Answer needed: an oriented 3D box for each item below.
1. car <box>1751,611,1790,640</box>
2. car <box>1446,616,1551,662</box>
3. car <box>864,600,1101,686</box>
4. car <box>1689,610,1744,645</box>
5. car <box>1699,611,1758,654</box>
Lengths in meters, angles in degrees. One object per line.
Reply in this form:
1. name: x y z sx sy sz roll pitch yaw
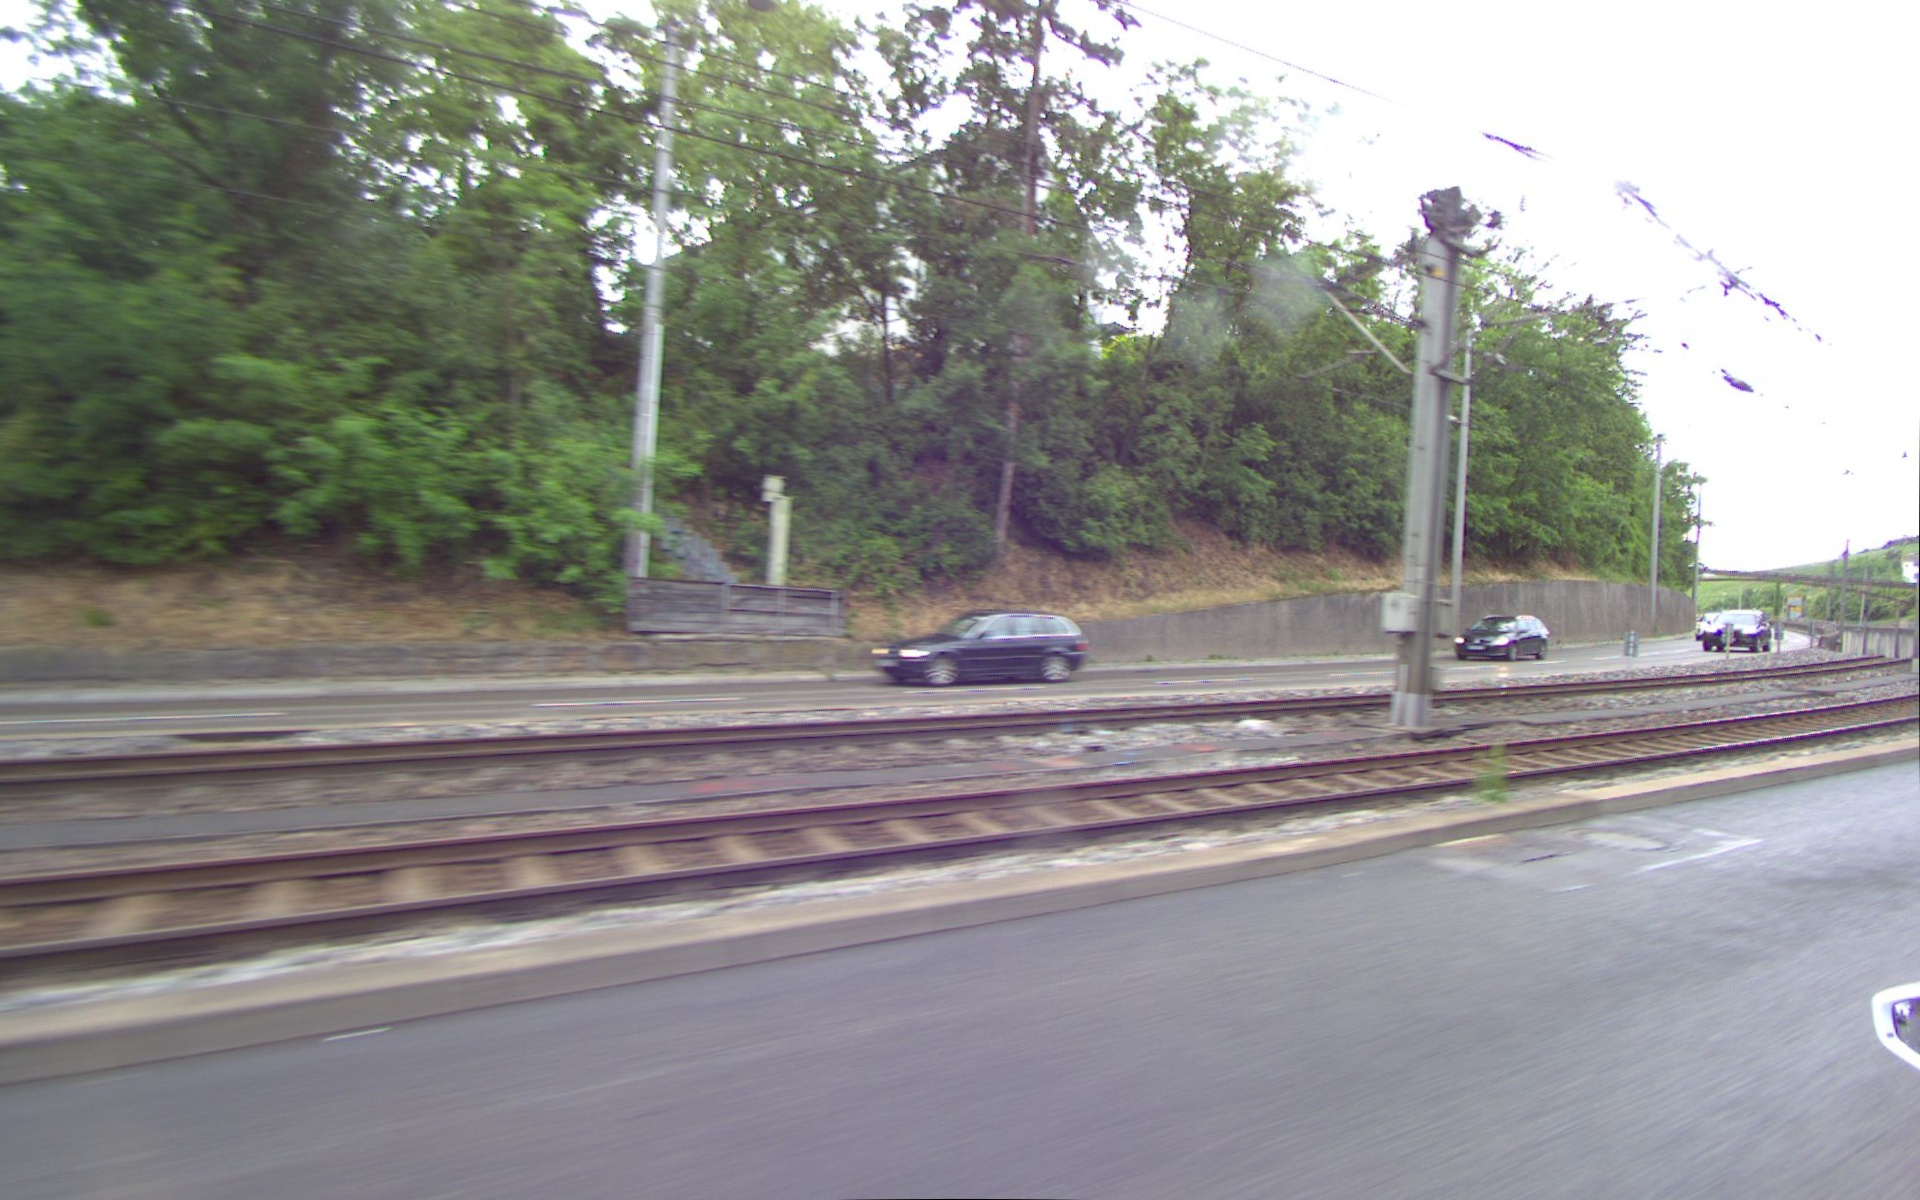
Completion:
1. car: 54.037 1.686 66.918 1.905 1.810 4.429 0 0 40
2. car: 18.246 1.280 33.947 4.422 1.433 1.908 1 -2 -45
3. car: 0.498 0.826 19.892 4.526 1.536 1.734 1 -1 -33
4. car: 46.198 1.673 61.300 3.972 2.040 1.975 1 0 -43
5. car: 34.625 1.427 45.193 1.905 1.810 4.429 0 0 40
